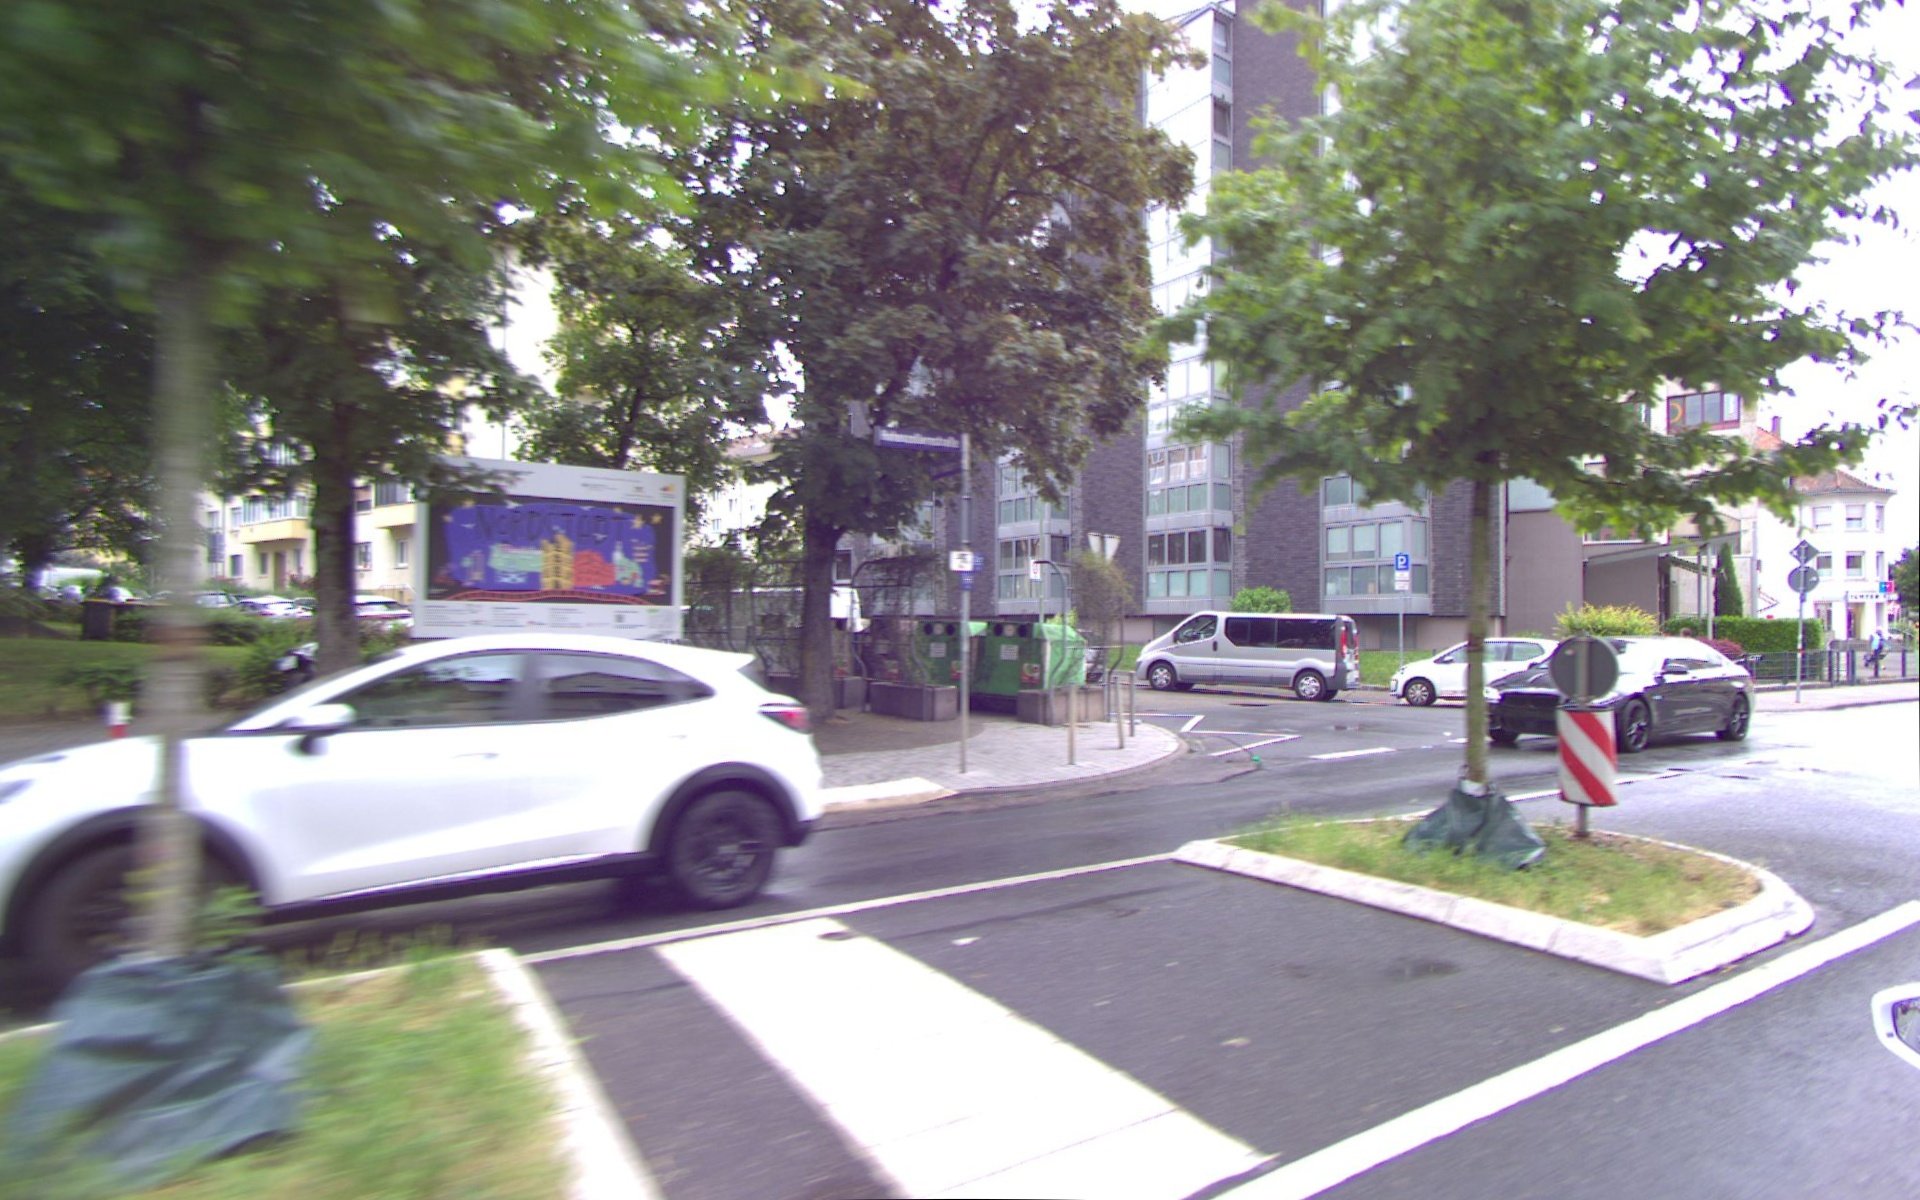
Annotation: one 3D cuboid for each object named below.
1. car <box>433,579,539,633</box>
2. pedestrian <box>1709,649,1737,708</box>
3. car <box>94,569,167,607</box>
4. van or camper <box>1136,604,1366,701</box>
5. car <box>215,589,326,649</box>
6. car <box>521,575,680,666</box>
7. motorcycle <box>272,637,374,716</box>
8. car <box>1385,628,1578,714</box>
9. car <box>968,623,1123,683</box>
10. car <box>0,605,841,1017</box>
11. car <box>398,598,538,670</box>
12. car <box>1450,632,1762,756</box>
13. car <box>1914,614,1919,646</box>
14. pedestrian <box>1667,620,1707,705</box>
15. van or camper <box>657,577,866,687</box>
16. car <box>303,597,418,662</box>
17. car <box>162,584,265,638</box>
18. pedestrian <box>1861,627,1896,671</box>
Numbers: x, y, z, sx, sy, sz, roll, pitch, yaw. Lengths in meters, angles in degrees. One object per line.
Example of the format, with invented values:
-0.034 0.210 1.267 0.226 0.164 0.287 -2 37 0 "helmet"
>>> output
-18.638 0.259 39.466 3.932 2.040 1.995 0 -1 33 "car"
15.939 1.637 20.993 0.308 1.214 0.406 1 -1 -38 "pedestrian"
-46.220 -0.623 55.958 3.932 2.040 1.995 0 -1 33 "car"
6.860 1.176 23.806 4.878 2.040 1.997 1 -1 29 "van or camper"
-25.029 0.697 36.457 3.932 2.040 1.995 -1 -1 33 "car"
-9.747 0.560 27.192 3.929 2.285 1.996 -1 -1 31 "car"
-9.804 1.142 15.544 0.784 1.001 2.051 1 2 -16 "motorcycle"
11.079 1.454 21.560 3.521 1.590 1.739 1 0 26 "car"
2.292 1.382 27.013 3.664 1.462 1.995 0 -1 33 "car"
-2.888 0.911 5.558 4.046 1.589 1.810 1 -5 -34 "car"
-15.087 0.993 30.776 3.929 2.040 1.996 1 -1 31 "car"
9.064 1.180 14.007 4.450 1.444 2.003 1 -1 -32 "car"
49.293 1.529 48.502 1.868 1.546 4.414 1 0 -36 "car"
15.570 1.315 21.510 0.576 1.785 0.569 1 -1 -38 "pedestrian"
-4.766 0.676 24.040 4.535 2.297 2.208 2 1 29 "van or camper"
-19.836 0.960 33.200 3.937 2.040 1.992 -1 -2 38 "car"
-29.311 0.450 39.414 3.932 2.040 1.995 -1 -1 33 "car"
36.187 1.915 39.570 0.732 1.708 0.755 0 -1 13 "pedestrian"
